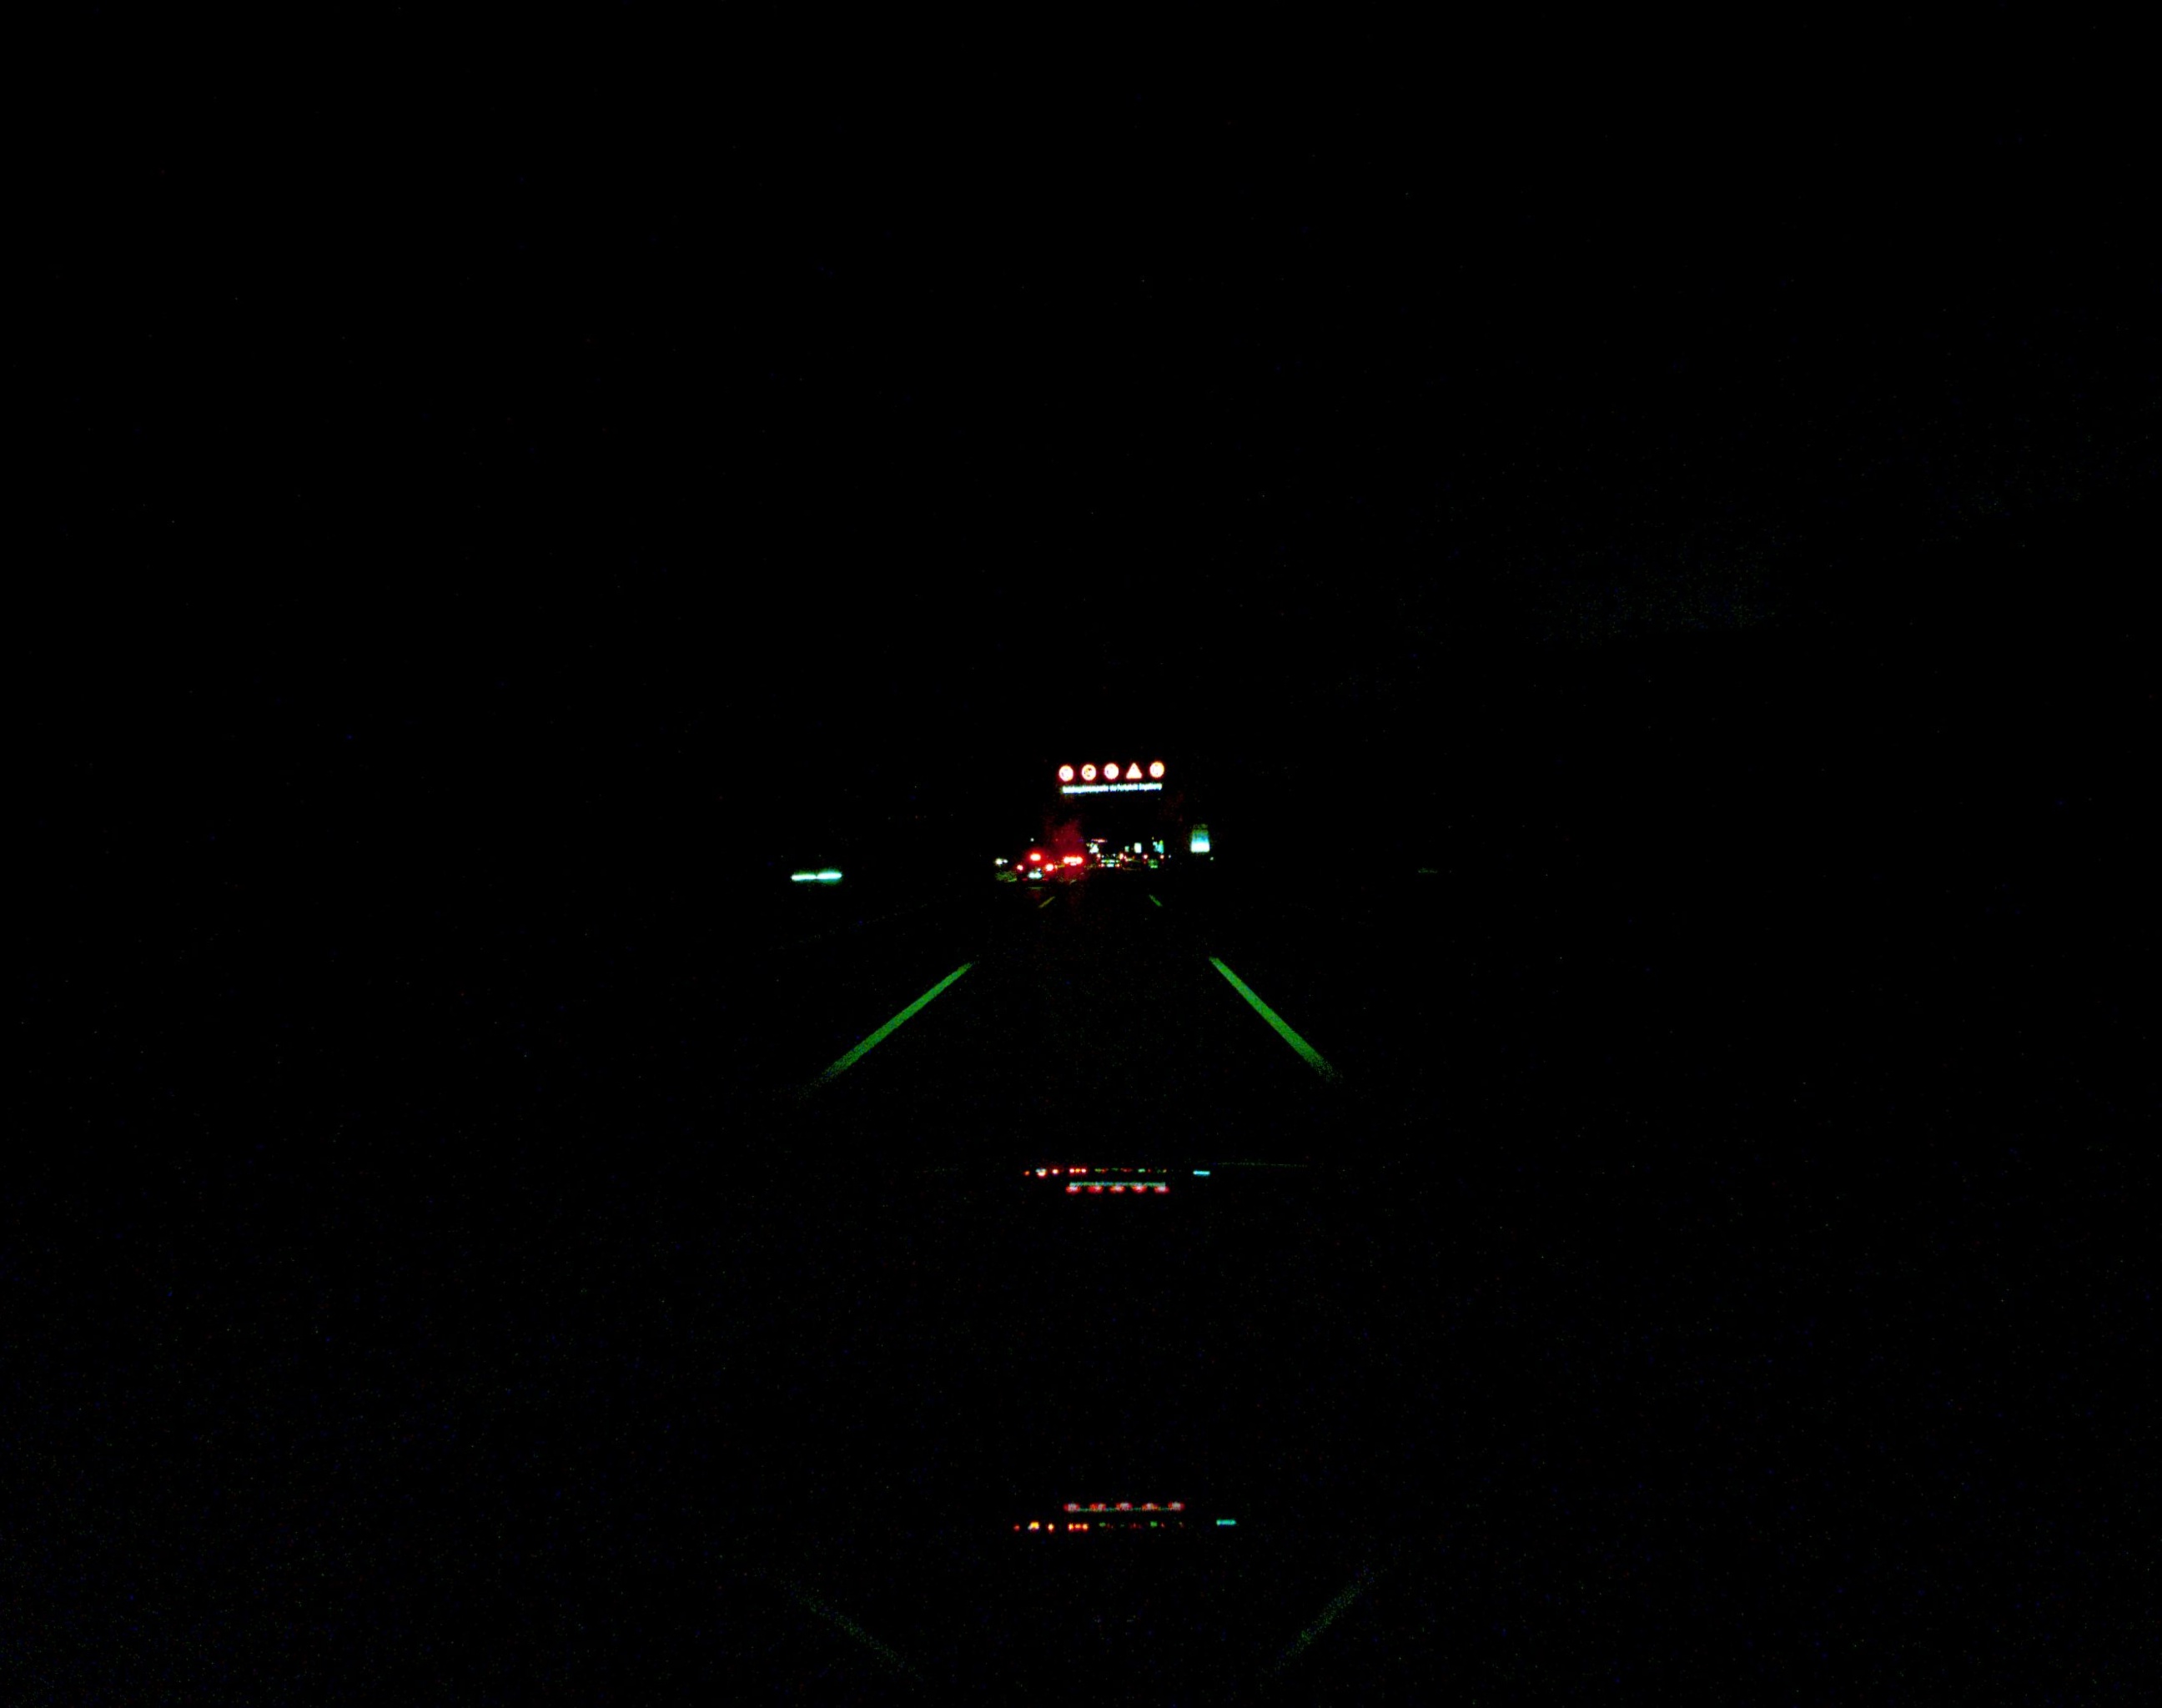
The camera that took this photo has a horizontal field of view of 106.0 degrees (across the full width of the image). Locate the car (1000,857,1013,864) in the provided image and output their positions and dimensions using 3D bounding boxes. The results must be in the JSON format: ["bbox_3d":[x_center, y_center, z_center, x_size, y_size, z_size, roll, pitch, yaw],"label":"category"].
[{"bbox_3d":[-14.246,1.269,155.311,1.896,1.282,4.352,-2,0,2],"label":"car"}]

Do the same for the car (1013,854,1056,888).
[{"bbox_3d":[-2.146,0.772,38.431,1.788,1.469,3.772,-1,0,0],"label":"car"}]

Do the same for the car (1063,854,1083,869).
[{"bbox_3d":[-0.741,0.737,81.634,1.738,1.440,4.370,-2,0,2],"label":"car"}]

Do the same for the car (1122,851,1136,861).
[{"bbox_3d":[7.608,0.354,129.104,2.154,1.563,4.725,-1,0,2],"label":"car"}]

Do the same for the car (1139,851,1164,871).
[{"bbox_3d":[5.615,0.546,65.087,1.640,1.596,4.510,-1,0,1],"label":"car"}]

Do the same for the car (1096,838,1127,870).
[{"bbox_3d":[2.537,-0.007,67.854,2.342,2.535,5.704,-2,0,2],"label":"car"}]

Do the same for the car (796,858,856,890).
[{"bbox_3d":[-14.199,1.064,45.622,1.897,1.617,4.404,-2,0,0],"label":"car"}]

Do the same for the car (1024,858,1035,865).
[{"bbox_3d":[-12.492,1.763,197.813,1.956,1.538,5.188,-2,0,2],"label":"car"}]
